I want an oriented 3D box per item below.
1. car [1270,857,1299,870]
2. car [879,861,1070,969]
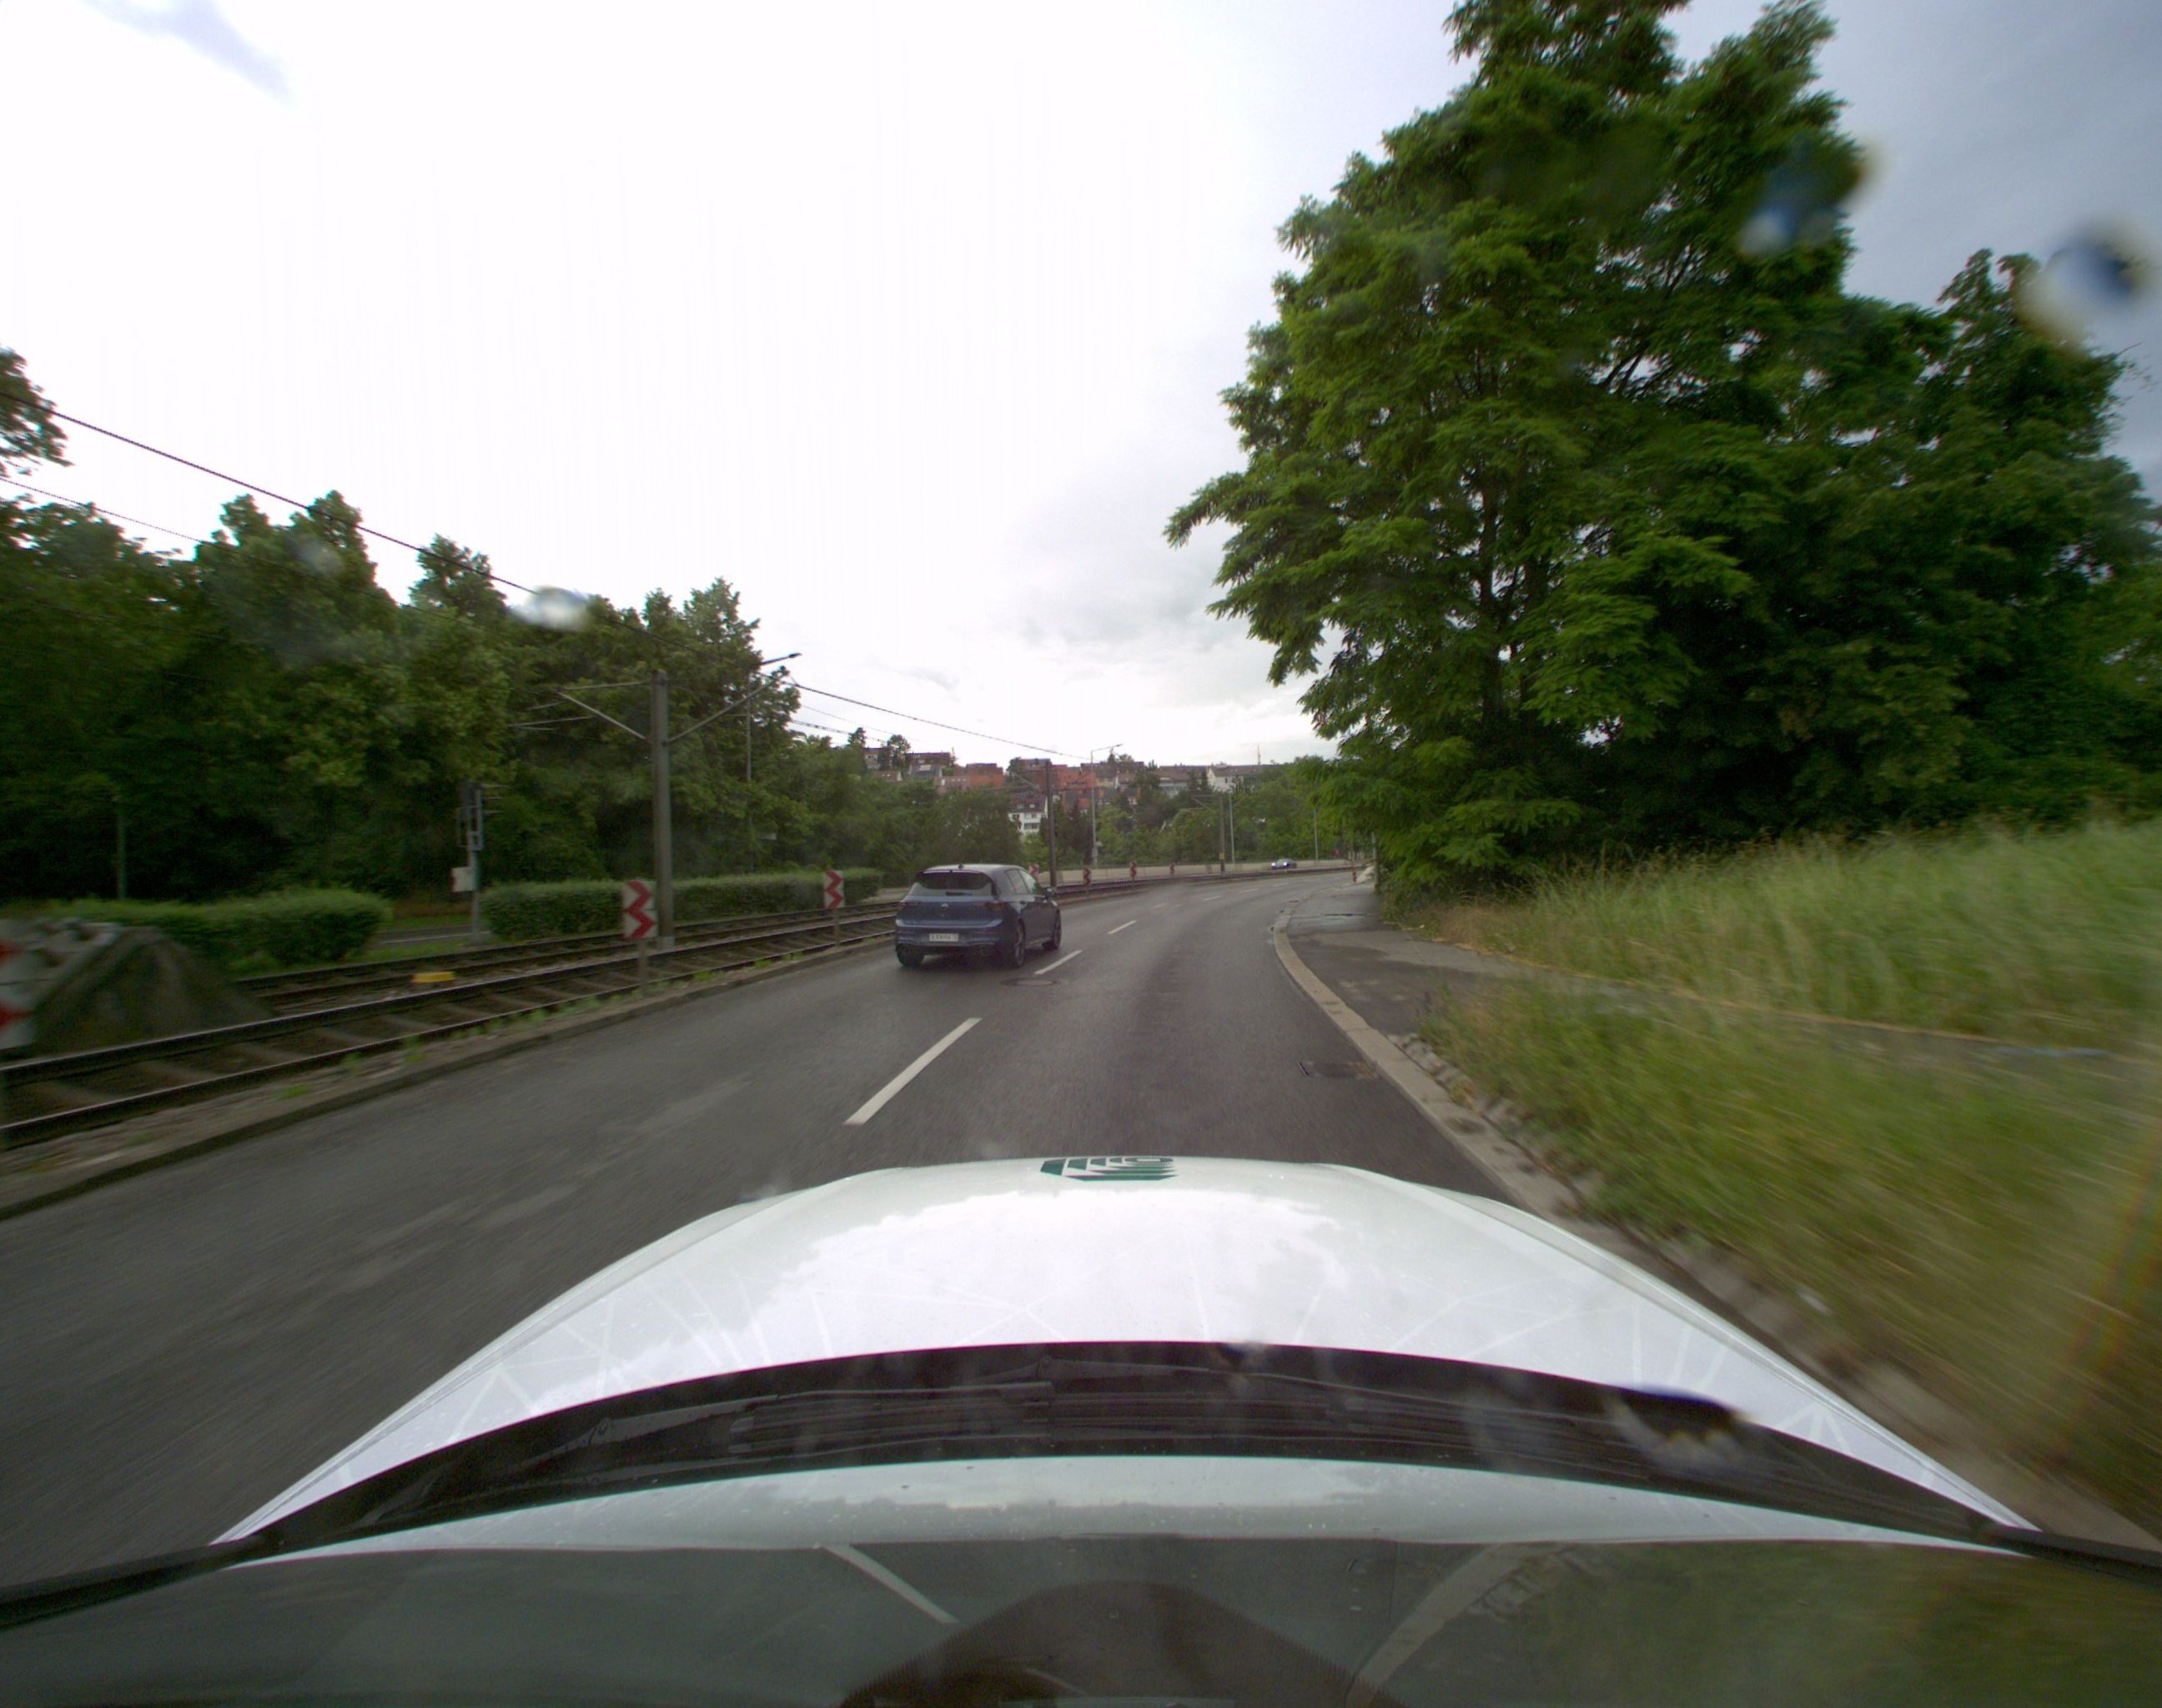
[{"bbox_3d":[23.241,1.036,93.038,1.974,1.366,4.218,-2,0,32],"label":"car"},{"bbox_3d":[-1.459,0.824,12.928,1.797,1.378,4.358,-1,0,9],"label":"car"}]
